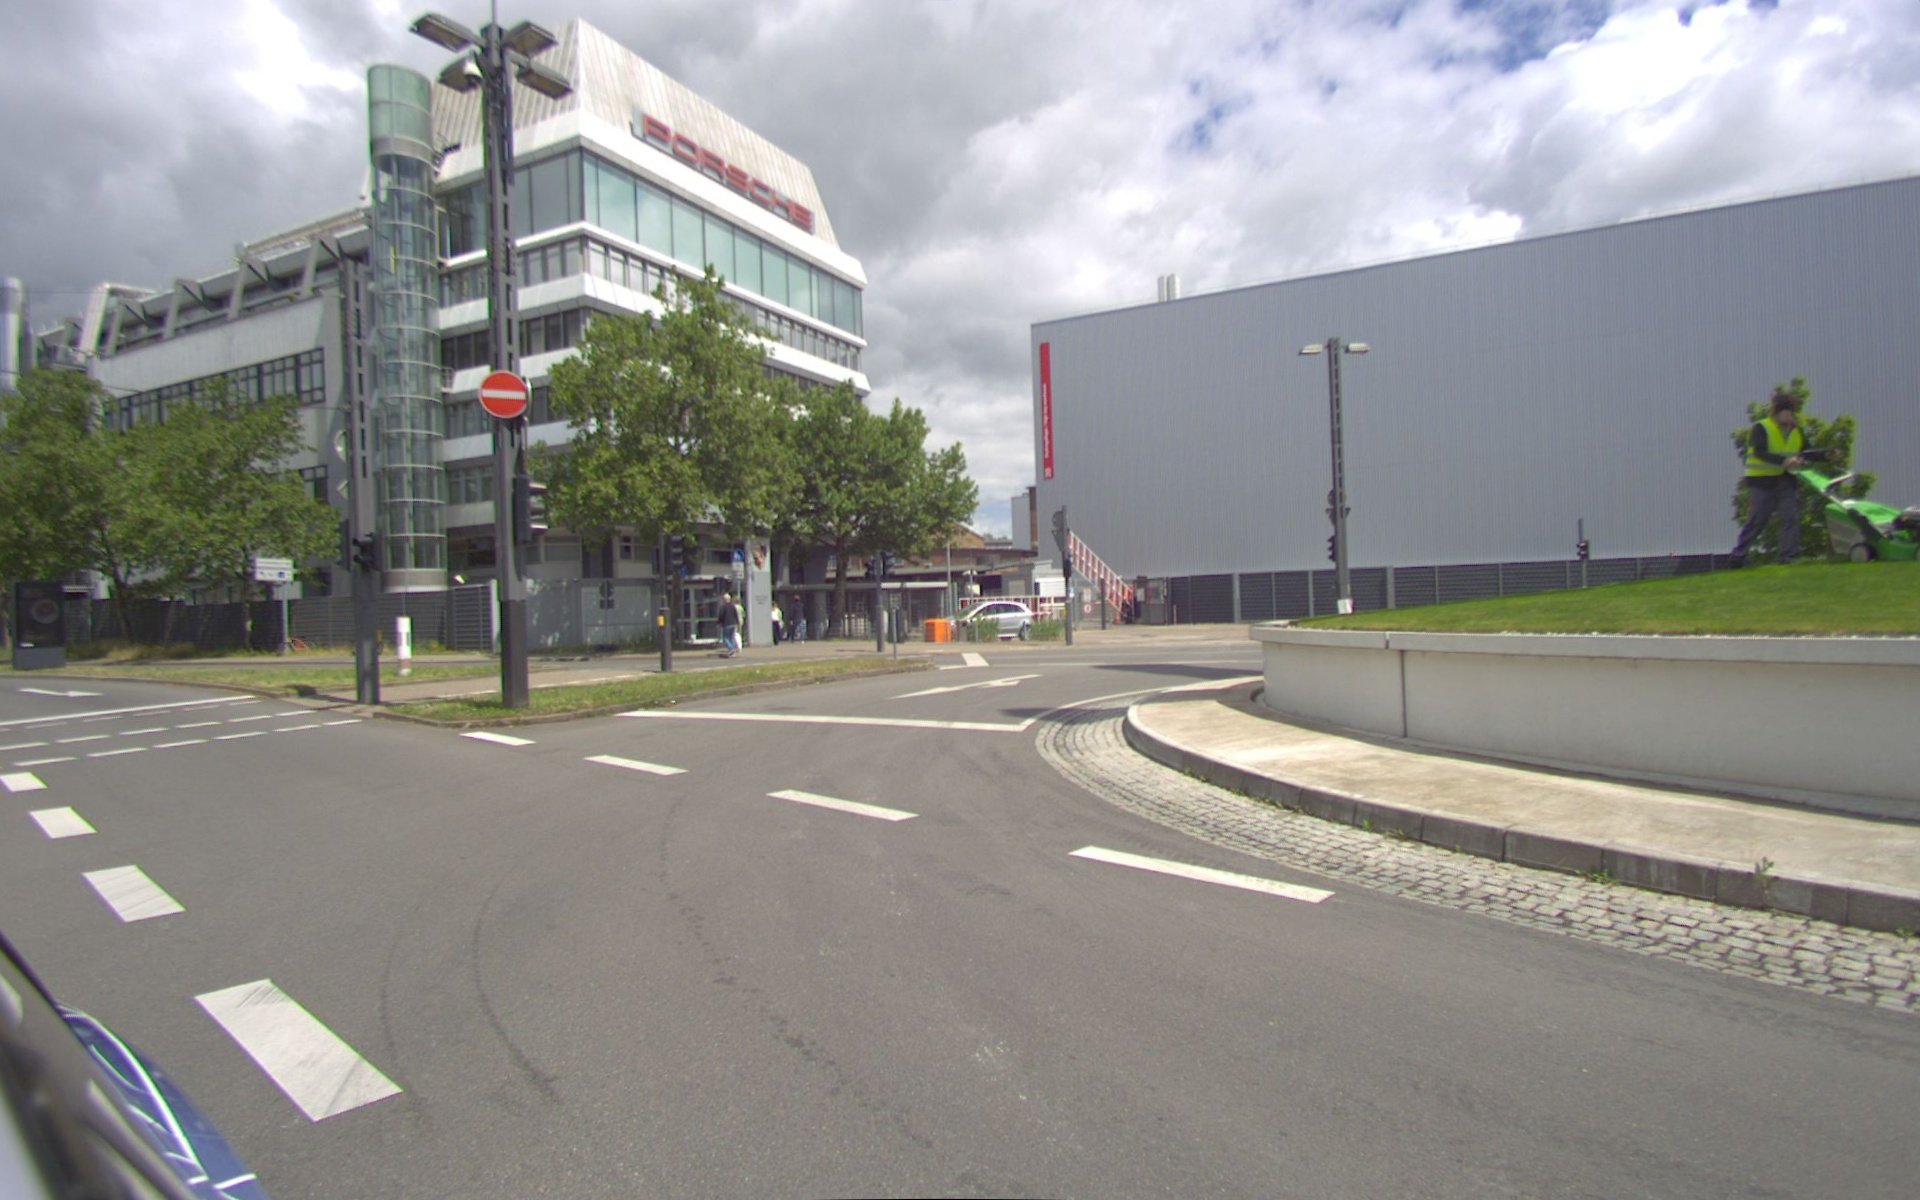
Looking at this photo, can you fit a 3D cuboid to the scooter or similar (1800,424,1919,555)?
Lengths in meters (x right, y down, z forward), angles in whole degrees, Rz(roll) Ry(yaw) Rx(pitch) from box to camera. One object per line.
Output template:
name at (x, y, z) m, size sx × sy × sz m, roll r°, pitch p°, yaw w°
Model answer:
scooter or similar at (8.311, -0.978, 8.967) m, size 0.543 × 1.033 × 1.402 m, roll -8°, pitch -1°, yaw 7°

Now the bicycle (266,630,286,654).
bicycle at (-29.111, 1.788, 43.072) m, size 1.250 × 1.013 × 0.294 m, roll -1°, pitch 1°, yaw 37°

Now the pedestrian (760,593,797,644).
pedestrian at (-6.549, 0.675, 36.629) m, size 1.025 × 1.787 × 0.862 m, roll -1°, pitch 1°, yaw 13°

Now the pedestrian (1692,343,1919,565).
pedestrian at (8.292, -1.374, 9.999) m, size 0.976 × 1.830 × 1.282 m, roll -9°, pitch -4°, yaw 10°

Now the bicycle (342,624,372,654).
bicycle at (-23.645, 1.519, 39.691) m, size 1.478 × 1.140 × 0.294 m, roll -1°, pitch 1°, yaw 30°

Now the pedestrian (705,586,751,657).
pedestrian at (-7.016, 0.637, 30.603) m, size 0.941 × 2.070 × 0.951 m, roll -2°, pitch 1°, yaw -45°

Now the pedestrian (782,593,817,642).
pedestrian at (-5.981, 0.638, 37.779) m, size 1.025 × 1.787 × 0.862 m, roll -1°, pitch 1°, yaw 13°

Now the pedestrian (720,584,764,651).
pedestrian at (-6.906, 0.546, 32.088) m, size 0.941 × 2.070 × 0.951 m, roll -2°, pitch 1°, yaw -45°
